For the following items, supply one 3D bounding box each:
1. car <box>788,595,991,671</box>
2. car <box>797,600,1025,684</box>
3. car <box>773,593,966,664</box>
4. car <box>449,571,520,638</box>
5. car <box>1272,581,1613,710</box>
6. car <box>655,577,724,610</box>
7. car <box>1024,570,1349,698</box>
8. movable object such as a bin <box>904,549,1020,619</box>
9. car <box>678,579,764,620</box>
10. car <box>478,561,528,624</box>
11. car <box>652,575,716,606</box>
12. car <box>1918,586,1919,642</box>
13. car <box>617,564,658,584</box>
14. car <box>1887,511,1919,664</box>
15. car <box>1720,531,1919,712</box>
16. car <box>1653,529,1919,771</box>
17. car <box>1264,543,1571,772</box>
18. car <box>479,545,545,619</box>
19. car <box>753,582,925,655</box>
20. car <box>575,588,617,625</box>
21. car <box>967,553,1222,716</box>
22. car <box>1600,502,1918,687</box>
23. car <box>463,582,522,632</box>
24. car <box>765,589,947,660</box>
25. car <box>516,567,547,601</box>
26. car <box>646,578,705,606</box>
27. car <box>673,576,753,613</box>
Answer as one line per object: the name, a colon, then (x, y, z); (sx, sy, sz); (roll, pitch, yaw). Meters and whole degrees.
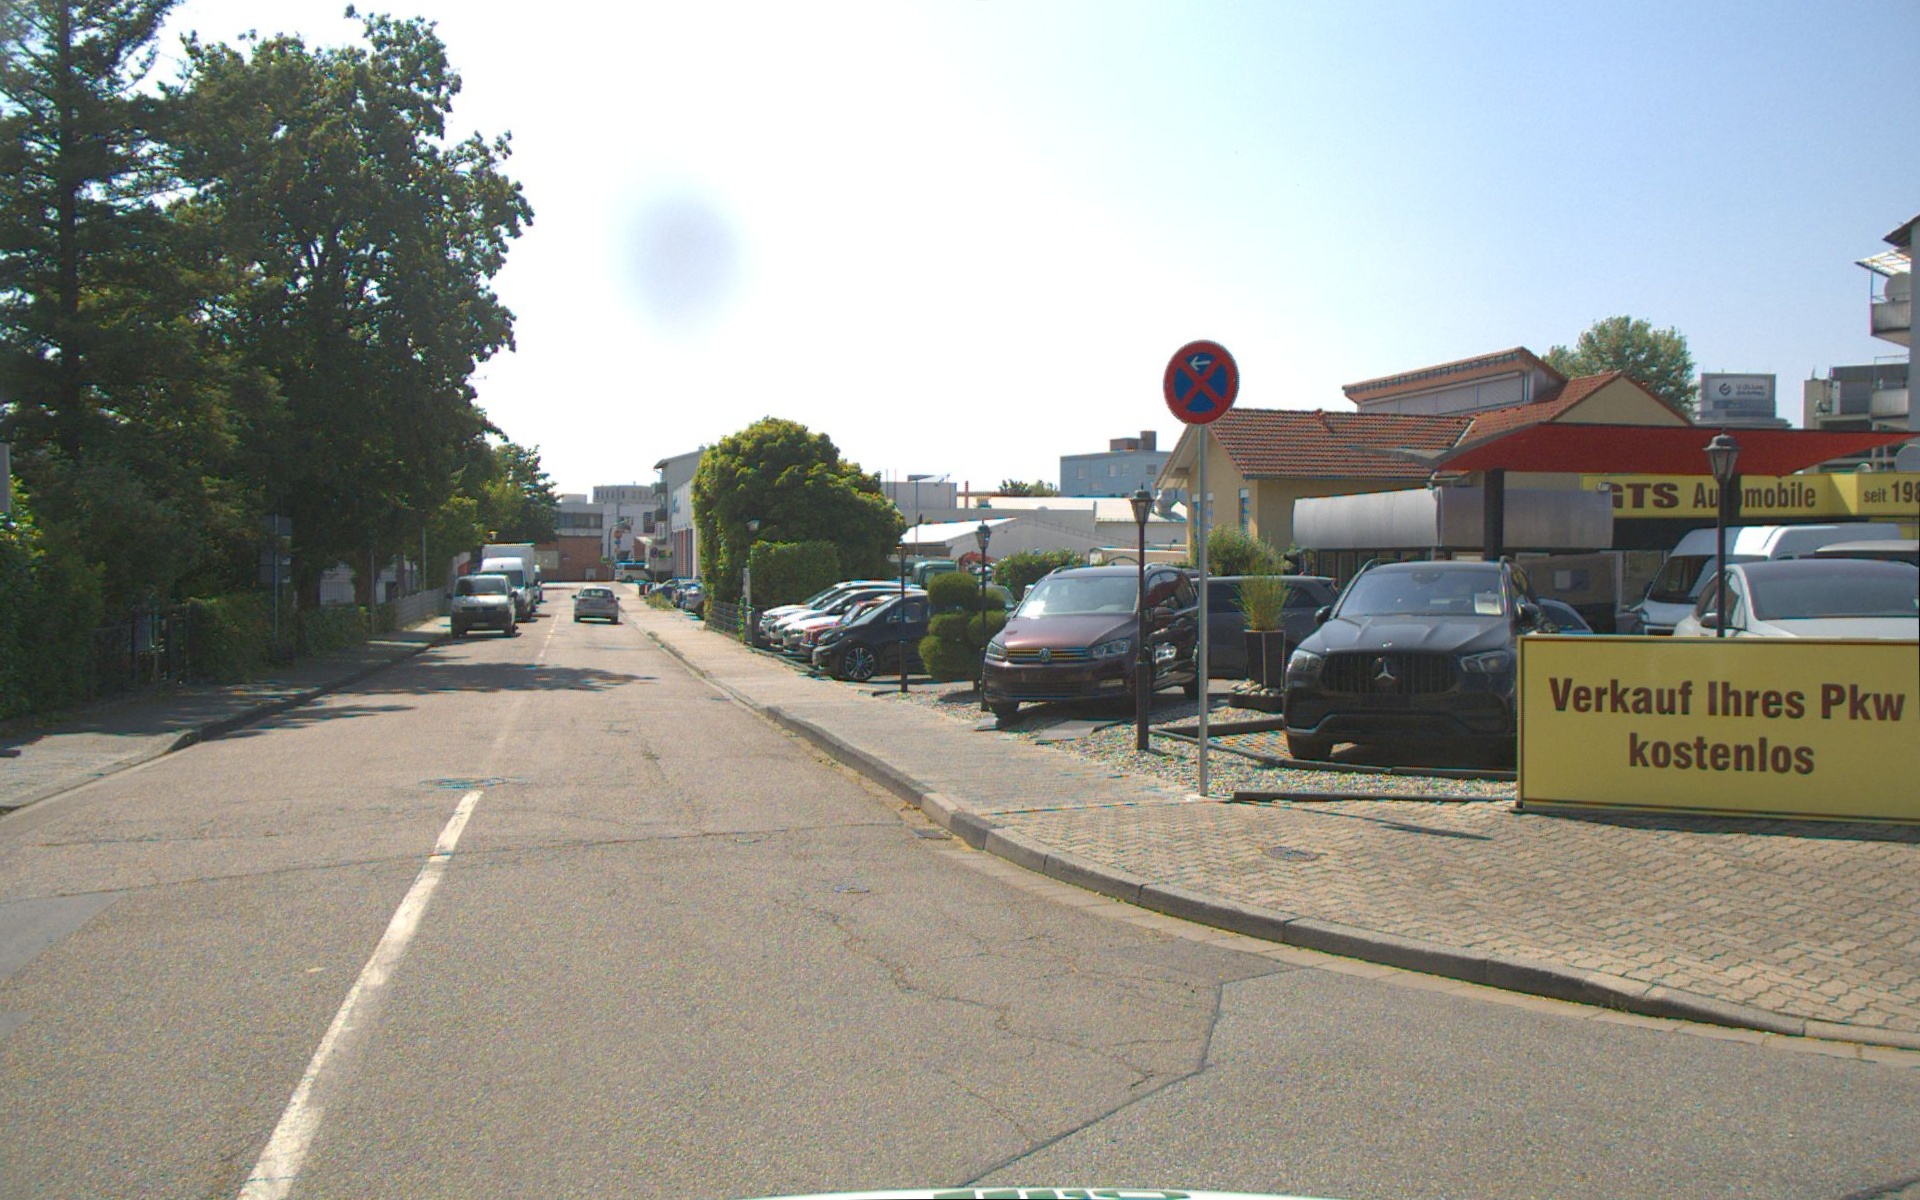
car: (-1.502, 0.662, 34.689); (3.980, 1.515, 1.791); (0, 0, -16)
car: (-0.956, 0.770, 31.621); (4.052, 1.515, 1.862); (0, 0, -16)
car: (-2.042, 0.606, 37.017); (4.039, 1.515, 1.862); (0, 0, -16)
car: (-15.449, 0.161, 53.931); (1.999, 2.092, 3.986); (0, 0, -13)
car: (6.709, 0.549, 22.866); (4.622, 1.602, 1.896); (-1, 1, -30)
car: (-15.233, -0.391, 93.143); (3.762, 1.794, 1.777); (1, 0, -13)
car: (3.509, 0.489, 25.618); (4.772, 1.874, 2.165); (0, 0, 10)
movable object such as a bin: (0.057, -0.670, 71.188); (4.730, 2.957, 1.995); (0, 0, -11)
car: (-11.020, -0.017, 76.085); (3.762, 1.794, 1.850); (1, 0, -13)
car: (-18.938, -0.311, 68.621); (1.800, 2.548, 3.987); (0, 0, -13)
car: (-17.052, -0.585, 102.056); (3.762, 1.794, 1.777); (1, 0, -13)
car: (11.179, 0.554, 17.029); (1.799, 1.499, 3.998); (-2, -1, 24)
car: (-32.848, -2.599, 168.369); (3.928, 1.942, 1.804); (1, 2, -20)
car: (18.151, -0.114, 28.292); (5.670, 2.471, 2.220); (1, 3, -42)
car: (13.374, 0.318, 24.188); (4.775, 2.391, 2.222); (1, -1, -39)
car: (7.400, 0.452, 14.130); (1.933, 1.737, 4.667); (-1, -3, 13)
car: (4.274, 0.476, 14.938); (2.002, 1.737, 4.312); (0, -1, 25)
car: (-21.538, -0.853, 79.866); (2.758, 3.375, 7.756); (0, 0, -13)
car: (-3.082, 0.452, 41.971); (4.091, 1.780, 1.884); (0, 0, -16)
car: (-15.349, 0.254, 69.785); (1.648, 1.519, 4.592); (0, 0, -12)
car: (1.716, 0.362, 19.462); (1.768, 1.685, 4.314); (-1, 0, 22)
car: (13.578, -0.066, 27.931); (6.083, 2.806, 2.255); (1, 0, -36)
car: (-16.442, 0.231, 58.366); (1.800, 1.722, 3.987); (0, 0, -13)
car: (-2.499, 0.558, 39.494); (4.045, 1.631, 1.862); (0, 0, -16)
car: (-27.822, -1.047, 107.487); (1.800, 2.155, 3.987); (0, 0, -13)
car: (-19.213, -0.542, 111.699); (3.793, 1.794, 1.818); (1, 0, -13)
car: (-12.252, -0.276, 81.969); (3.762, 1.794, 1.777); (1, 0, -13)
